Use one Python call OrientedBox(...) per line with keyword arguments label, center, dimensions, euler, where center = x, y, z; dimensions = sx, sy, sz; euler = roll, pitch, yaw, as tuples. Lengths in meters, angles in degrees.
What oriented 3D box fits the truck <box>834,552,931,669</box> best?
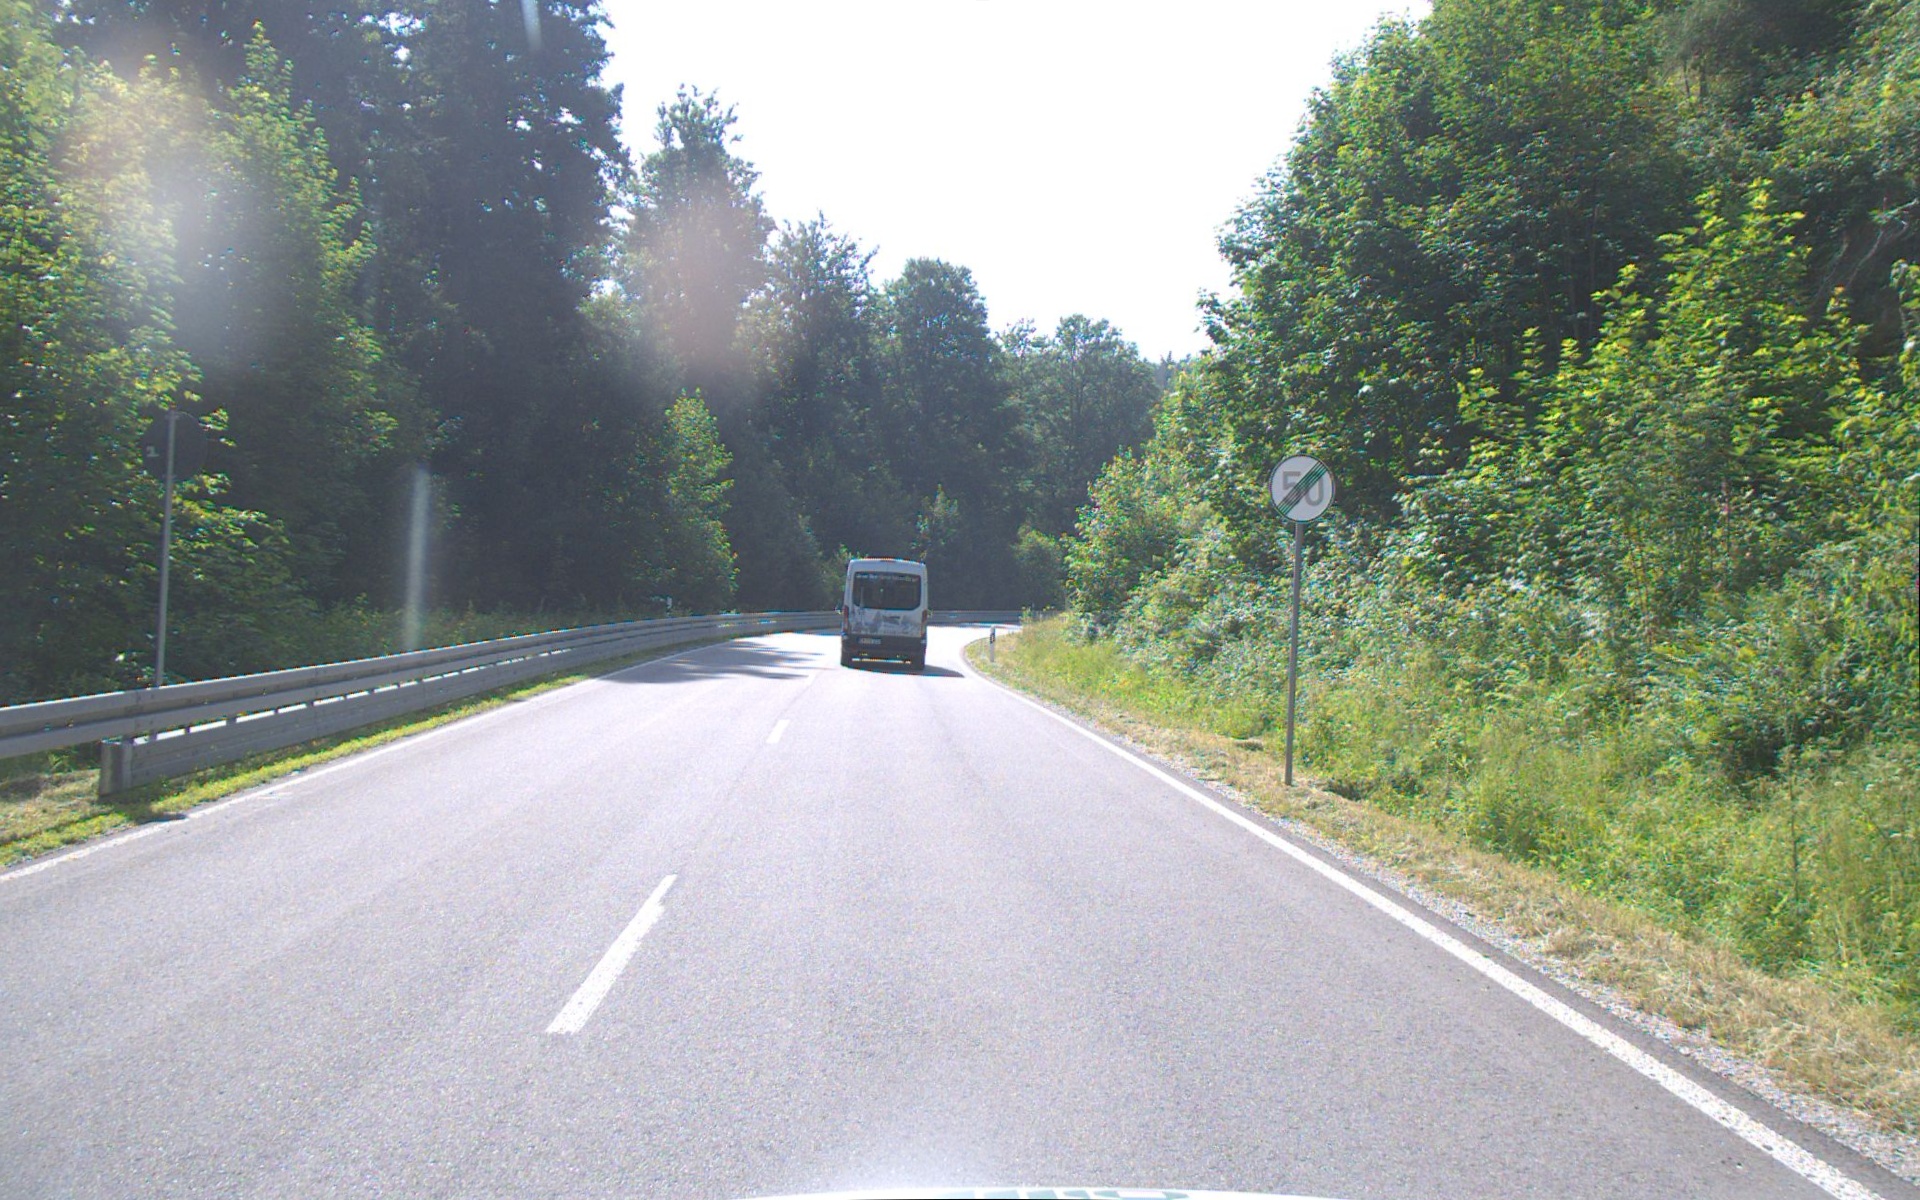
OrientedBox(label="truck", center=(-1.935, 0.244, 39.914), dimensions=(2.074, 2.542, 5.354), euler=(2, 0, -4))
